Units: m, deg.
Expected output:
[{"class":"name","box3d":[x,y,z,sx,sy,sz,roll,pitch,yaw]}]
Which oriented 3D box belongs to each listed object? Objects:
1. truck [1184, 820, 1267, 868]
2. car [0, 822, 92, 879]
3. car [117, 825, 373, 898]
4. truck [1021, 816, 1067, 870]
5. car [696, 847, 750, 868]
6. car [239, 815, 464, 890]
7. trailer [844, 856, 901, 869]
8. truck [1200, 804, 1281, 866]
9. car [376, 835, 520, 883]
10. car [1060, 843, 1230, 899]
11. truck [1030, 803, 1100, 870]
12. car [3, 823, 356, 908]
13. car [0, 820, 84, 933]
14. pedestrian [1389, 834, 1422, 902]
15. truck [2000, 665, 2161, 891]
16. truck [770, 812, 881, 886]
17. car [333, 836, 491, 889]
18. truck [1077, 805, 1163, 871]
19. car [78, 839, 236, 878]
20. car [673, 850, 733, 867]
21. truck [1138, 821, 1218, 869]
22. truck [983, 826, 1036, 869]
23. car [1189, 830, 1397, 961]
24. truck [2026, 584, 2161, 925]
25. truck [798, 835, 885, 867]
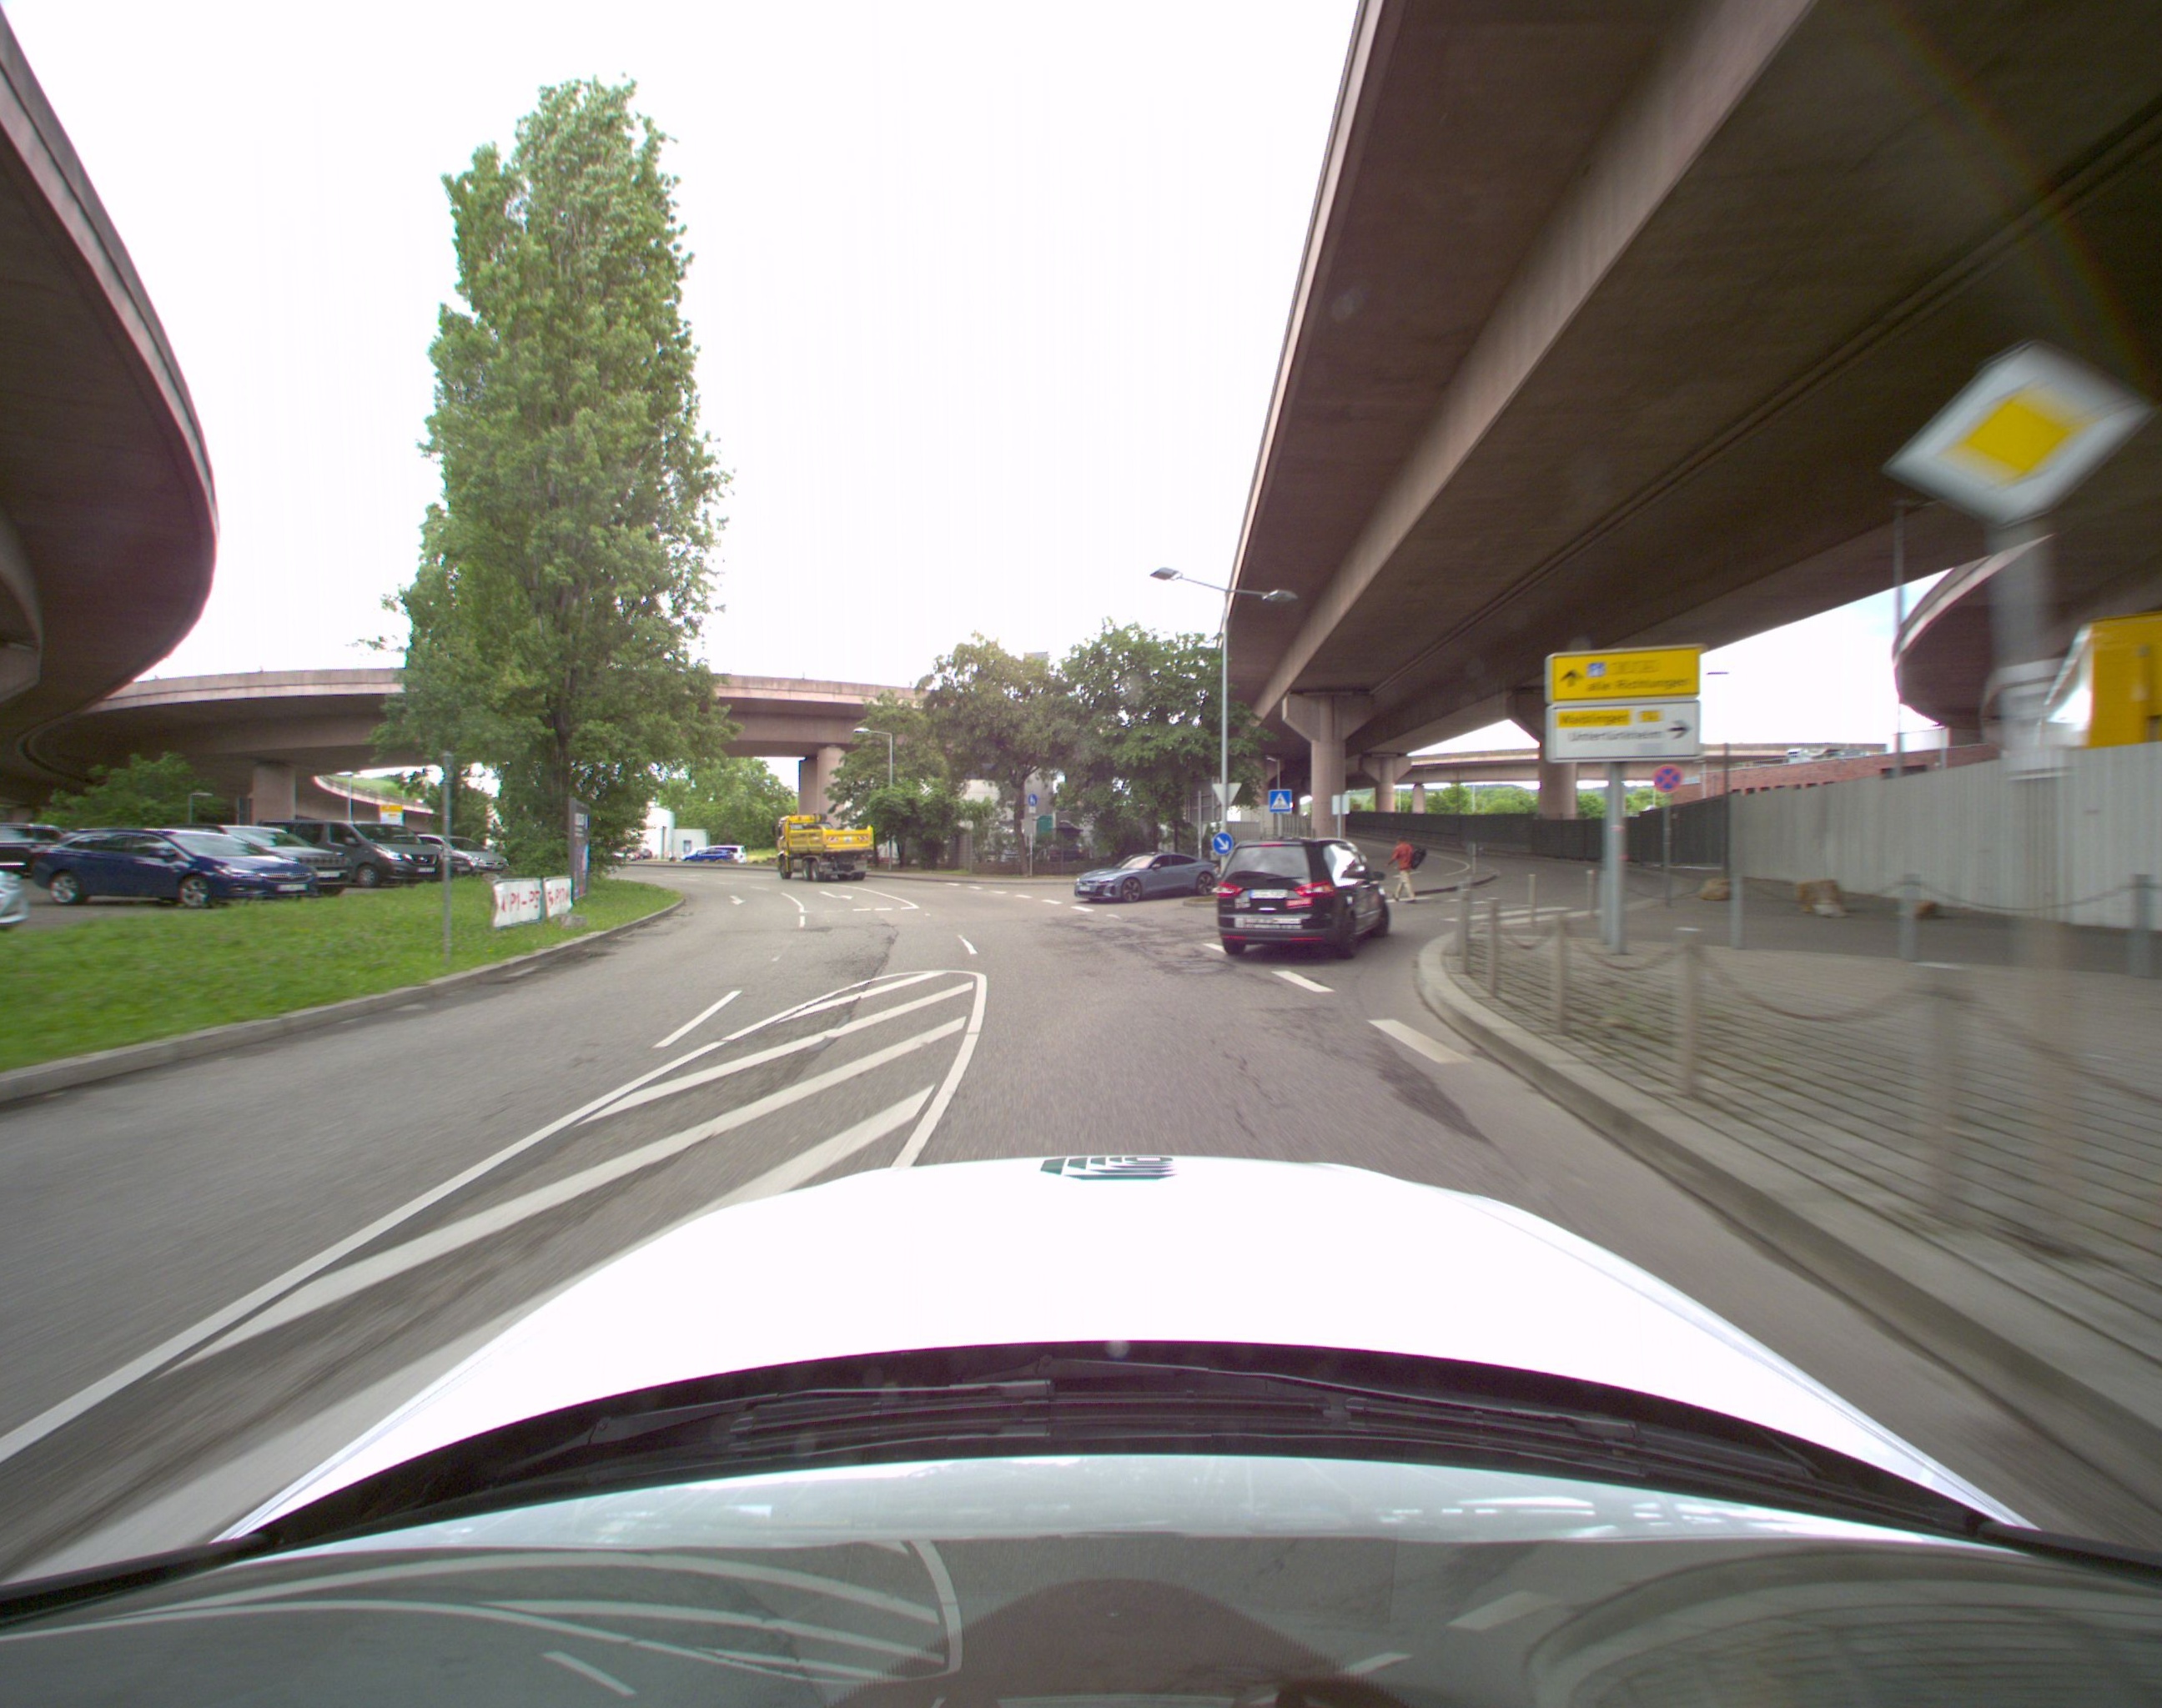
[{"class":"truck","box3d":[9.436,-0.695,53.966,2.921,2.898,6.524,-1,1,-15]},{"class":"car","box3d":[-34.050,-0.159,25.136,1.638,1.712,4.104,2,-1,23]},{"class":"car","box3d":[-19.275,0.187,18.866,4.409,1.512,1.902,-1,0,9]},{"class":"truck","box3d":[-3.619,-1.044,76.757,3.204,4.779,8.020,-1,1,-10]},{"class":"car","box3d":[-34.564,0.361,78.729,4.311,1.857,1.995,-2,-1,-7]},{"class":"car","box3d":[-21.677,-0.010,24.312,5.059,2.072,2.265,-1,-2,9]},{"class":"trailer","box3d":[-15.917,0.608,61.840,2.165,0.743,6.227,-4,3,-34]},{"class":"truck","box3d":[11.747,-1.407,60.877,3.067,4.299,8.018,-1,1,-11]},{"class":"car","box3d":[-25.457,0.207,32.812,4.363,1.791,2.020,-1,0,7]},{"class":"car","box3d":[2.007,0.466,24.826,4.953,1.502,2.150,-1,0,-36]},{"class":"truck","box3d":[-1.171,-1.124,52.278,3.069,3.963,6.892,-1,1,-13]},{"class":"car","box3d":[-17.748,0.227,16.213,4.818,1.488,2.078,-1,0,2]},{"class":"car","box3d":[-15.634,0.323,10.272,4.253,1.415,2.005,-1,0,10]},{"class":"pedestrian","box3d":[8.170,0.341,20.501,0.535,1.676,0.557,-2,0,-6]},{"class":"truck","box3d":[26.284,-1.631,21.066,8.765,4.903,3.110,0,-1,-42]},{"class":"truck","box3d":[-13.593,-0.293,42.770,2.950,3.481,8.153,-2,2,-37]},{"class":"car","box3d":[-24.699,0.286,30.148,4.332,1.553,2.005,-4,1,8]},{"class":"truck","box3d":[2.318,-1.024,51.798,3.071,3.867,8.006,-1,1,-15]},{"class":"car","box3d":[-35.655,0.127,31.582,1.648,1.354,3.696,-1,1,7]},{"class":"car","box3d":[-34.534,0.435,74.480,4.433,1.442,1.998,-2,-1,-3]},{"class":"truck","box3d":[6.176,-0.614,52.914,2.921,2.898,6.524,-1,1,-15]},{"class":"truck","box3d":[-6.530,-0.686,73.232,3.063,3.618,7.869,-1,1,-17]},{"class":"car","box3d":[3.538,0.545,12.864,1.974,1.679,4.589,-2,-1,30]},{"class":"truck","box3d":[19.219,-1.436,14.287,8.765,4.917,3.110,0,-1,-42]},{"class":"truck","box3d":[-20.272,-0.205,68.751,7.139,2.552,2.741,-1,0,28]}]
